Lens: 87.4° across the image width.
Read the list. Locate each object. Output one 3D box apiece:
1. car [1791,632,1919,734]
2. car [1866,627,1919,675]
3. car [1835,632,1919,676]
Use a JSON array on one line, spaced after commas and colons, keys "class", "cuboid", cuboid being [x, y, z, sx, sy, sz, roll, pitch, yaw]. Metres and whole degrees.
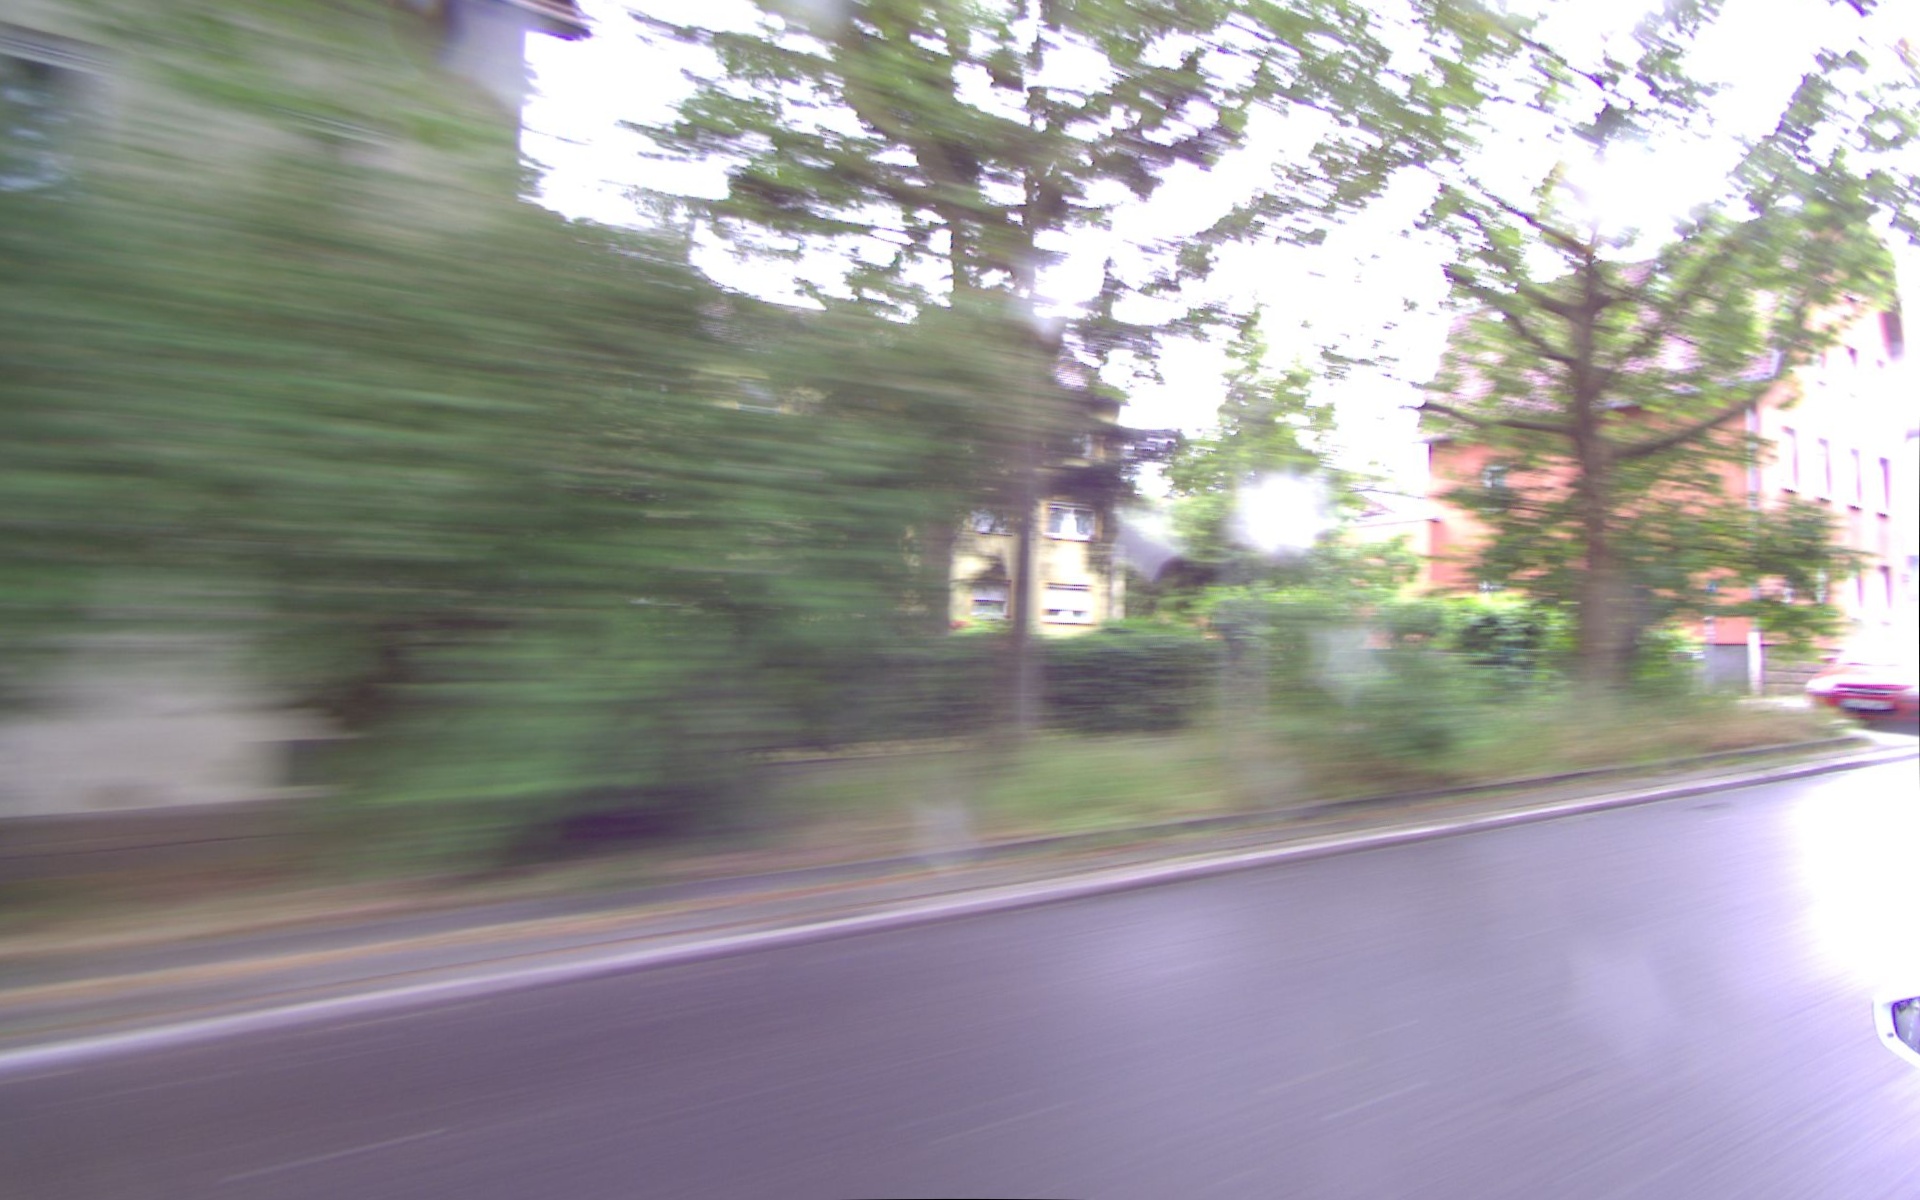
[{"class": "car", "cuboid": [14.580, 1.217, 15.517, 3.717, 1.391, 1.630, 1, -1, -32]}, {"class": "car", "cuboid": [35.765, 1.840, 36.238, 1.974, 1.720, 4.136, 1, -2, -26]}, {"class": "car", "cuboid": [33.481, 1.854, 34.859, 2.044, 1.482, 4.270, 1, -2, -29]}]
